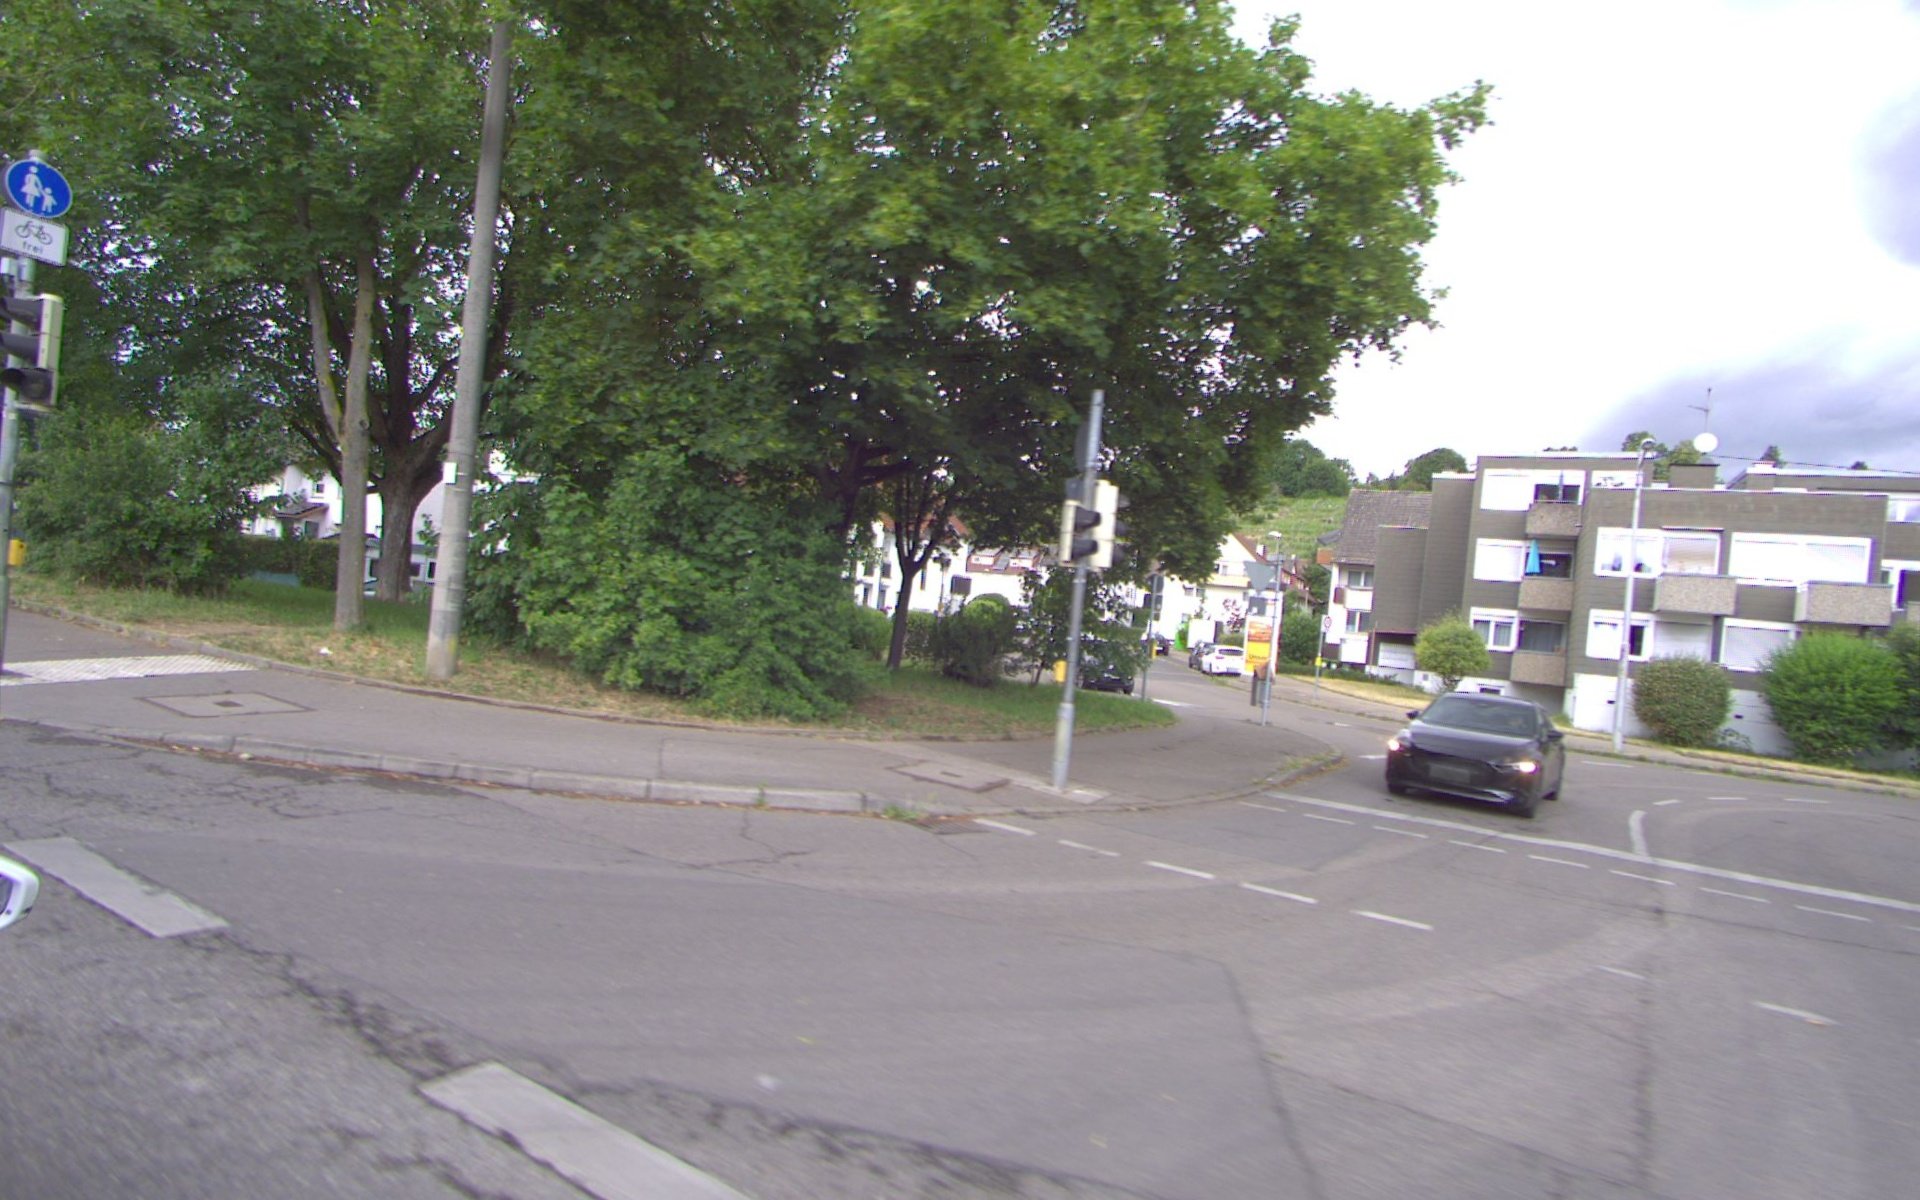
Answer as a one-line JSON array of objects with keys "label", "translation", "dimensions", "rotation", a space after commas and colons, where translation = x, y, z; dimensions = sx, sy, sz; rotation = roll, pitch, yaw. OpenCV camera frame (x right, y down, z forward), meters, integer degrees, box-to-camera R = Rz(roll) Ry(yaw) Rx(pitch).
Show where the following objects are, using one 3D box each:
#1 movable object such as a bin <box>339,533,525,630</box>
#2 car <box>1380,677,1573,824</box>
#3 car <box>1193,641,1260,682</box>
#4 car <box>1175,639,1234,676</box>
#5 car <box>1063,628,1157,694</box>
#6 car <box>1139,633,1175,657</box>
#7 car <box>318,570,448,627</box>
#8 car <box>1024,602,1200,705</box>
[{"label": "movable object such as a bin", "translation": [-18.818, -0.656, 35.842], "dimensions": [6.155, 2.653, 2.002], "rotation": [6, -2, 20]}, {"label": "car", "translation": [7.339, 1.975, 14.071], "dimensions": [1.678, 1.544, 4.152], "rotation": [6, -1, 36]}, {"label": "car", "translation": [12.624, 2.896, 47.937], "dimensions": [1.963, 1.536, 4.000], "rotation": [7, -1, 0]}, {"label": "car", "translation": [12.920, 3.017, 53.406], "dimensions": [1.963, 1.536, 4.000], "rotation": [7, -1, 0]}, {"label": "car", "translation": [4.849, 1.962, 33.069], "dimensions": [1.965, 1.785, 4.000], "rotation": [7, -2, -5]}, {"label": "car", "translation": [13.547, 3.077, 69.339], "dimensions": [1.692, 1.258, 3.652], "rotation": [7, 0, 2]}, {"label": "car", "translation": [-19.238, -0.047, 33.538], "dimensions": [3.768, 1.402, 1.485], "rotation": [7, -2, 18]}, {"label": "car", "translation": [3.690, 1.317, 24.097], "dimensions": [3.974, 2.038, 1.976], "rotation": [7, 0, -43]}]
